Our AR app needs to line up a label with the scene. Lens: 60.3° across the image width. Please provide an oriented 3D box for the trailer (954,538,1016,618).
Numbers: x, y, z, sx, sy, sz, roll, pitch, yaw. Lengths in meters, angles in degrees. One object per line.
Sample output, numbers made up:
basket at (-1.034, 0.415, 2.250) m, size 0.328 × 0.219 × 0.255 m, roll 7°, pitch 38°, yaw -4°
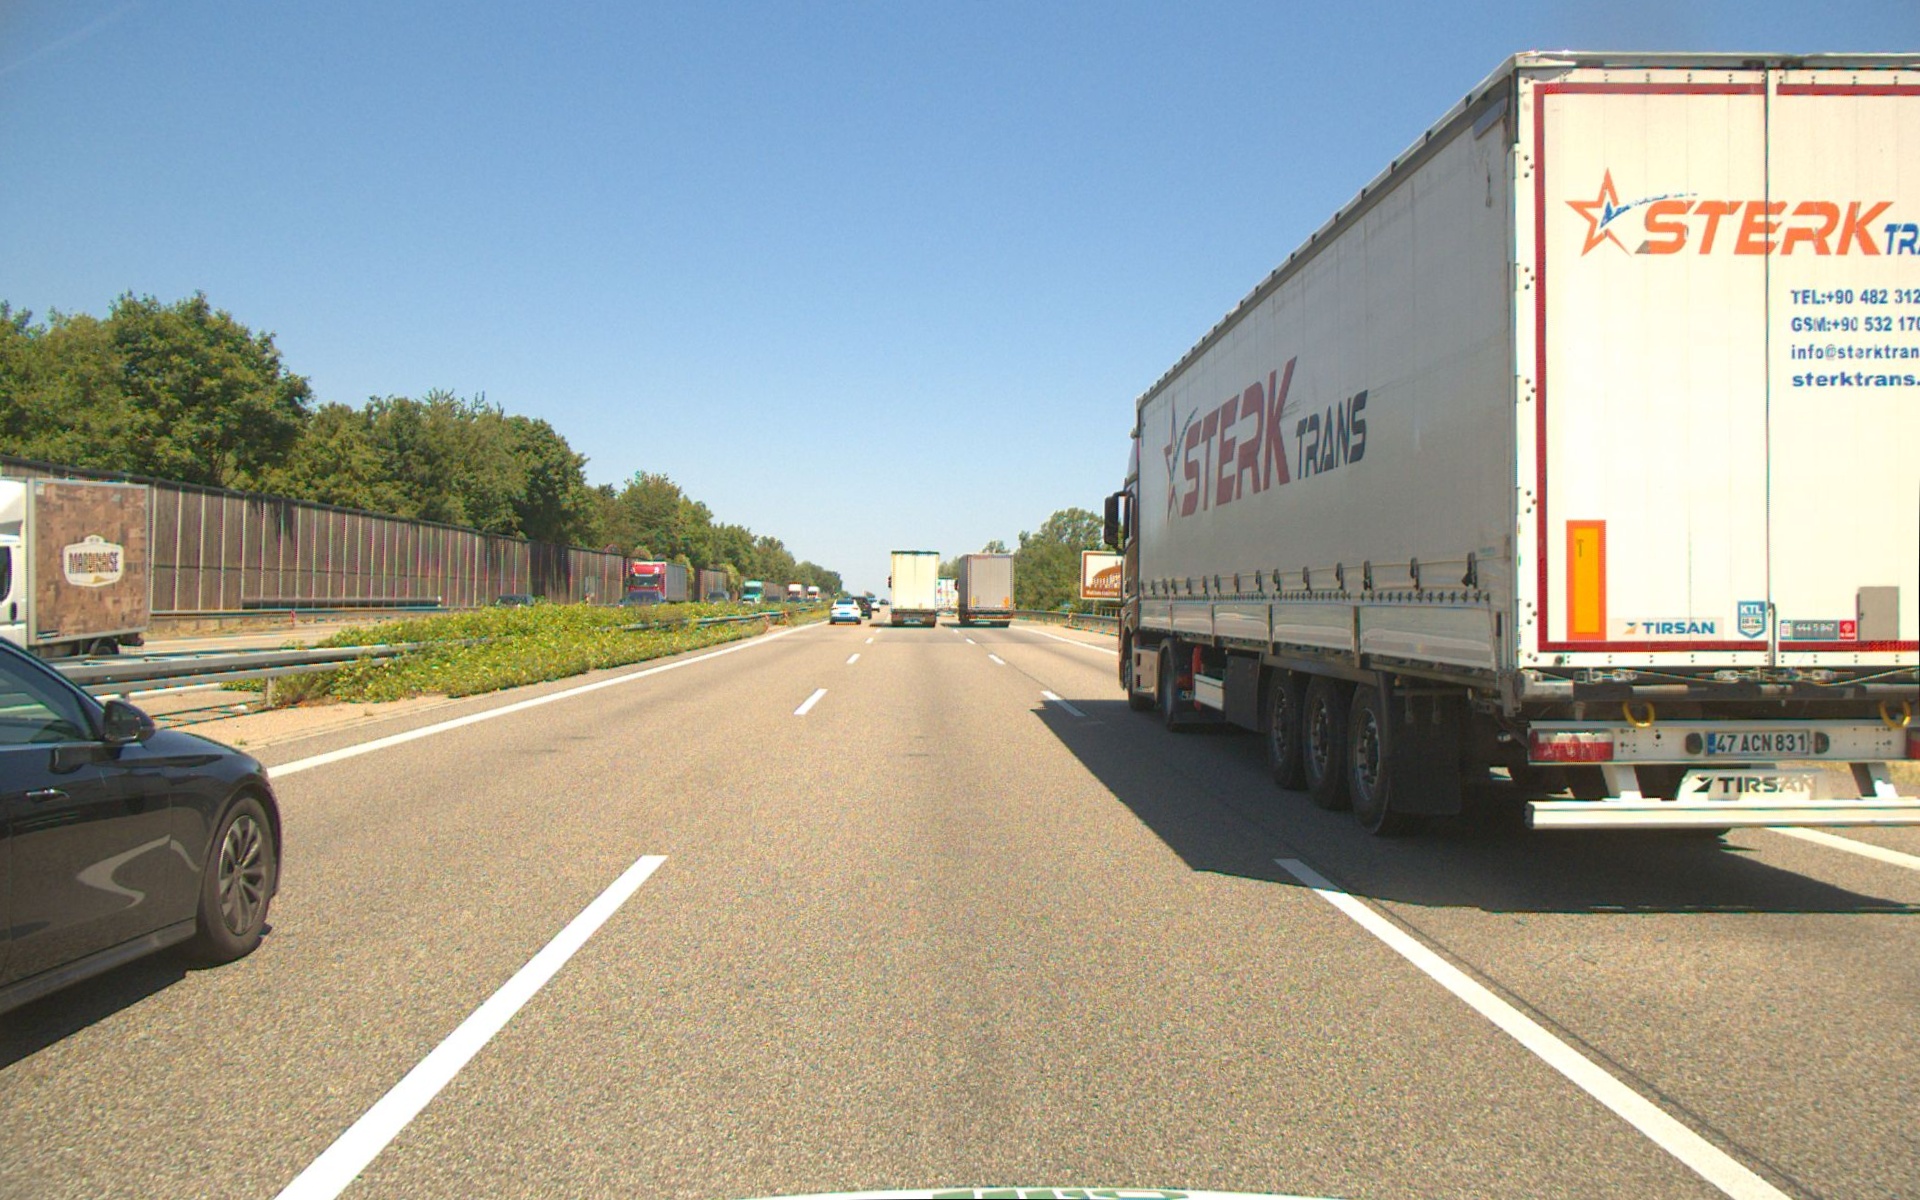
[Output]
trailer at (1.338, -1.191, 96.780) m, size 2.649 × 4.289 × 13.203 m, roll 1°, pitch 0°, yaw -3°

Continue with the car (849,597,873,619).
car at (-7.576, 0.608, 126.670) m, size 1.818 × 1.645 × 3.997 m, roll 0°, pitch 0°, yaw -3°

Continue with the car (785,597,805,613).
car at (-18.964, 0.545, 189.980) m, size 1.953 × 1.750 × 4.530 m, roll 1°, pitch 0°, yaw -2°

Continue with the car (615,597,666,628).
car at (-14.752, 0.548, 76.564) m, size 1.672 × 1.378 × 3.999 m, roll 0°, pitch 0°, yaw -2°

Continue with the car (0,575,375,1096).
car at (-3.786, 0.687, 5.270) m, size 1.904 × 1.533 × 5.819 m, roll 0°, pitch 0°, yaw -2°

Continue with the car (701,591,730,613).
car at (-21.215, 0.140, 143.614) m, size 1.953 × 1.847 × 5.217 m, roll 1°, pitch 0°, yaw -2°

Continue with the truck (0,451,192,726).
truck at (-13.147, -0.150, 22.467) m, size 2.361 × 3.411 × 6.917 m, roll 0°, pitch 0°, yaw -2°

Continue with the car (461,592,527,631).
car at (-20.001, 0.478, 71.163) m, size 1.777 × 1.627 × 3.999 m, roll 0°, pitch 0°, yaw -2°

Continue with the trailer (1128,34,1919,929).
trailer at (3.692, -0.550, 14.814) m, size 2.652 × 4.160 × 14.148 m, roll 1°, pitch 0°, yaw -1°

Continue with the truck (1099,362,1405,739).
truck at (3.553, -0.549, 21.913) m, size 2.652 × 4.160 × 6.962 m, roll 1°, pitch 0°, yaw -1°

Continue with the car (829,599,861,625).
car at (-6.756, 0.674, 97.445) m, size 1.818 × 1.512 × 3.997 m, roll 0°, pitch 0°, yaw -3°

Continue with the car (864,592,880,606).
car at (-10.850, -0.120, 204.641) m, size 1.819 × 1.645 × 3.996 m, roll 0°, pitch 0°, yaw -5°

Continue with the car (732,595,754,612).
car at (-23.787, 0.365, 181.045) m, size 1.953 × 1.750 × 4.530 m, roll 1°, pitch 0°, yaw -2°

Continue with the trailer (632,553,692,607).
trailer at (-24.368, -1.536, 136.160) m, size 2.445 × 4.159 × 14.268 m, roll 0°, pitch 0°, yaw 0°

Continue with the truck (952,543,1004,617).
truck at (1.059, -1.188, 102.188) m, size 2.637 × 4.289 × 7.833 m, roll 1°, pitch 0°, yaw -3°

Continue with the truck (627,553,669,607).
truck at (-24.334, -1.541, 129.113) m, size 2.436 × 4.159 × 4.677 m, roll 0°, pitch 0°, yaw 0°

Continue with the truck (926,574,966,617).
truck at (-1.597, -0.503, 181.334) m, size 3.309 × 4.378 × 11.437 m, roll 3°, pitch 0°, yaw -5°

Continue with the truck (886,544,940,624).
truck at (-2.763, -0.838, 93.967) m, size 2.653 × 4.157 × 13.465 m, roll 1°, pitch 0°, yaw -3°
